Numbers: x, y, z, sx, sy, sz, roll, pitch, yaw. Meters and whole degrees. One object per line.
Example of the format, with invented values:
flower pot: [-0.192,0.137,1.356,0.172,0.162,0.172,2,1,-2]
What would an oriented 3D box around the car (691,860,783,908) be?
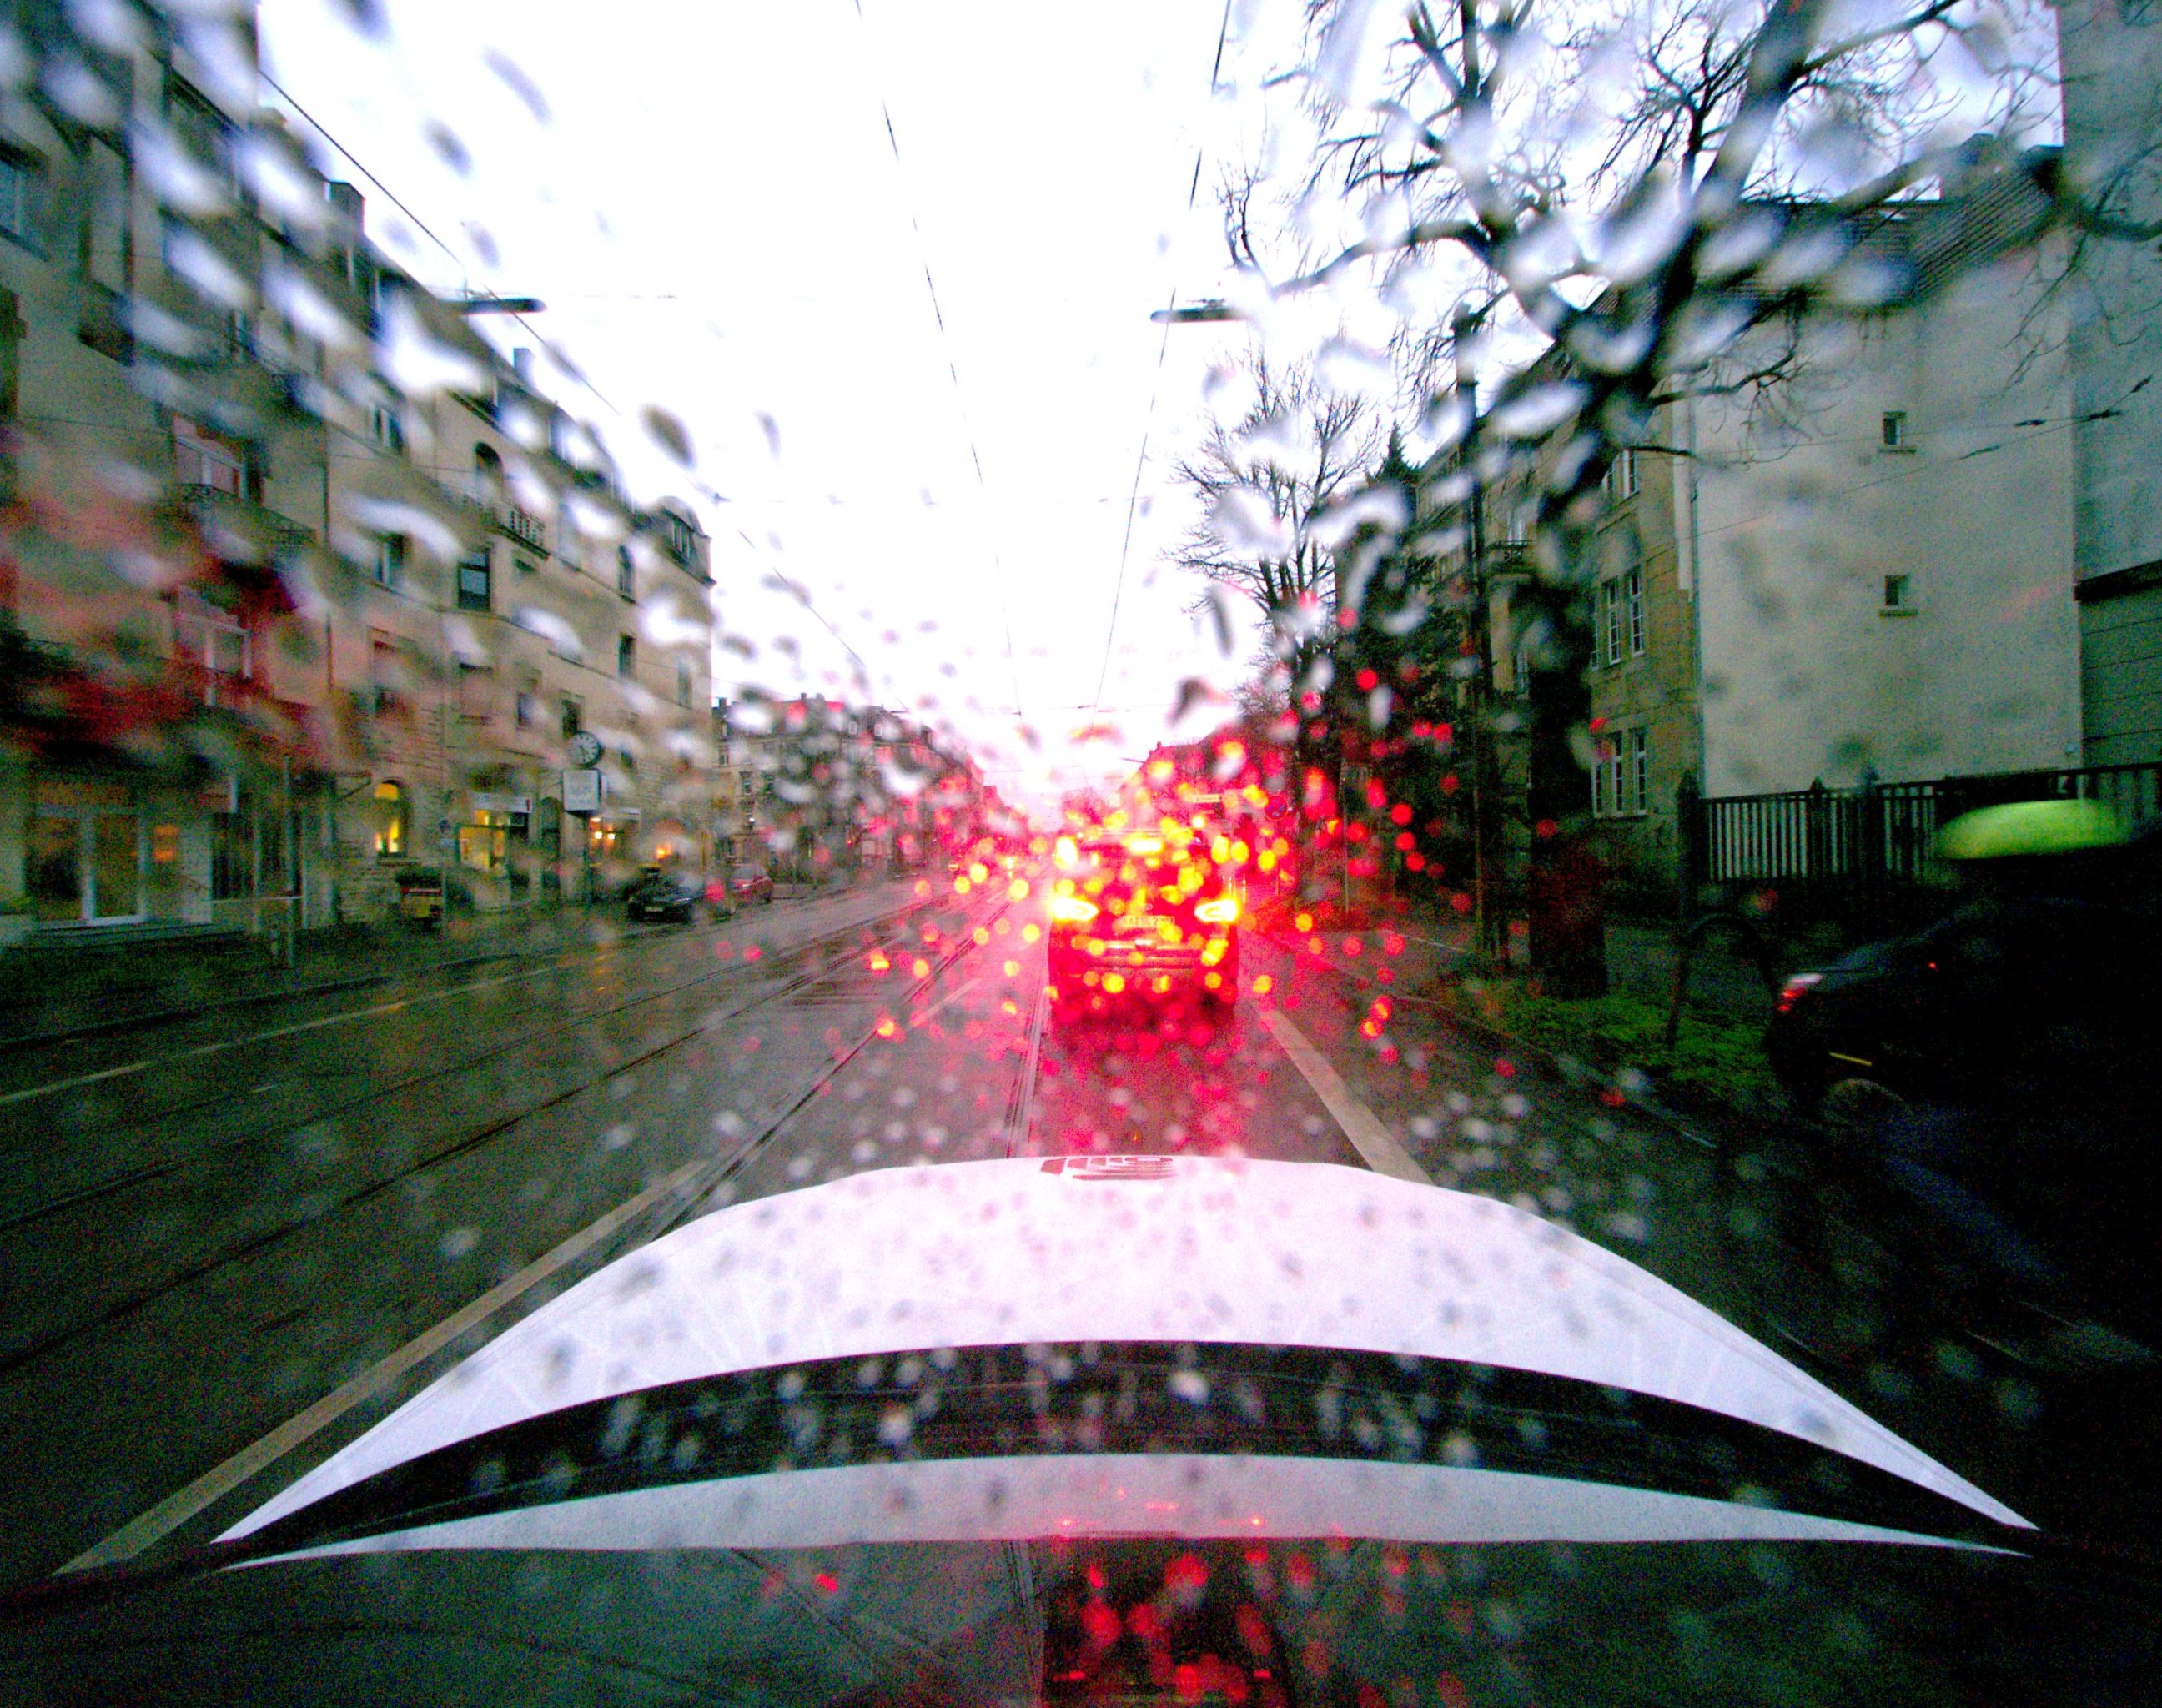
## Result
car: [-12.835,1.088,30.695,2.035,1.551,4.023,2,0,-6]

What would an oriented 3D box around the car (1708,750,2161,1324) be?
car: [4.532,0.570,2.028,2.025,1.875,4.961,-2,0,-1]

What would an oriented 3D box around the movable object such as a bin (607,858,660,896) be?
movable object such as a bin: [-16.822,0.849,30.664,1.290,1.367,1.251,-1,0,-1]

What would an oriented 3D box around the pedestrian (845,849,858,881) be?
pedestrian: [-14.891,0.698,52.775,0.707,2.013,0.656,-1,0,-21]

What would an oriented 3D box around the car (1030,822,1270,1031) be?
car: [0.652,0.629,9.487,2.096,1.816,4.661,0,0,1]

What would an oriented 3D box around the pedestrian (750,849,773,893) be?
pedestrian: [-14.832,0.787,37.820,0.748,2.014,0.652,-1,-1,35]

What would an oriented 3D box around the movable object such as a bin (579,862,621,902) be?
movable object such as a bin: [-17.345,1.007,29.386,0.896,1.377,1.006,-1,0,-1]

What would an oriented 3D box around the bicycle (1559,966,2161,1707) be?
bicycle: [2.210,0.985,2.080,0.716,1.112,1.938,0,0,-5]

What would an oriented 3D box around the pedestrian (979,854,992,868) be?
pedestrian: [-8.300,0.583,70.687,1.044,1.200,0.885,-1,-1,0]

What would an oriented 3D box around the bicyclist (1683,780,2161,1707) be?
bicyclist: [2.220,0.700,1.965,0.716,1.662,1.054,0,0,-5]

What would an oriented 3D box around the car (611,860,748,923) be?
car: [-12.027,1.064,24.801,1.982,1.645,4.625,3,-1,-3]

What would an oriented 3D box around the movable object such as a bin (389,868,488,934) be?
movable object such as a bin: [-14.701,1.046,18.680,1.263,1.420,1.249,-1,0,-1]
